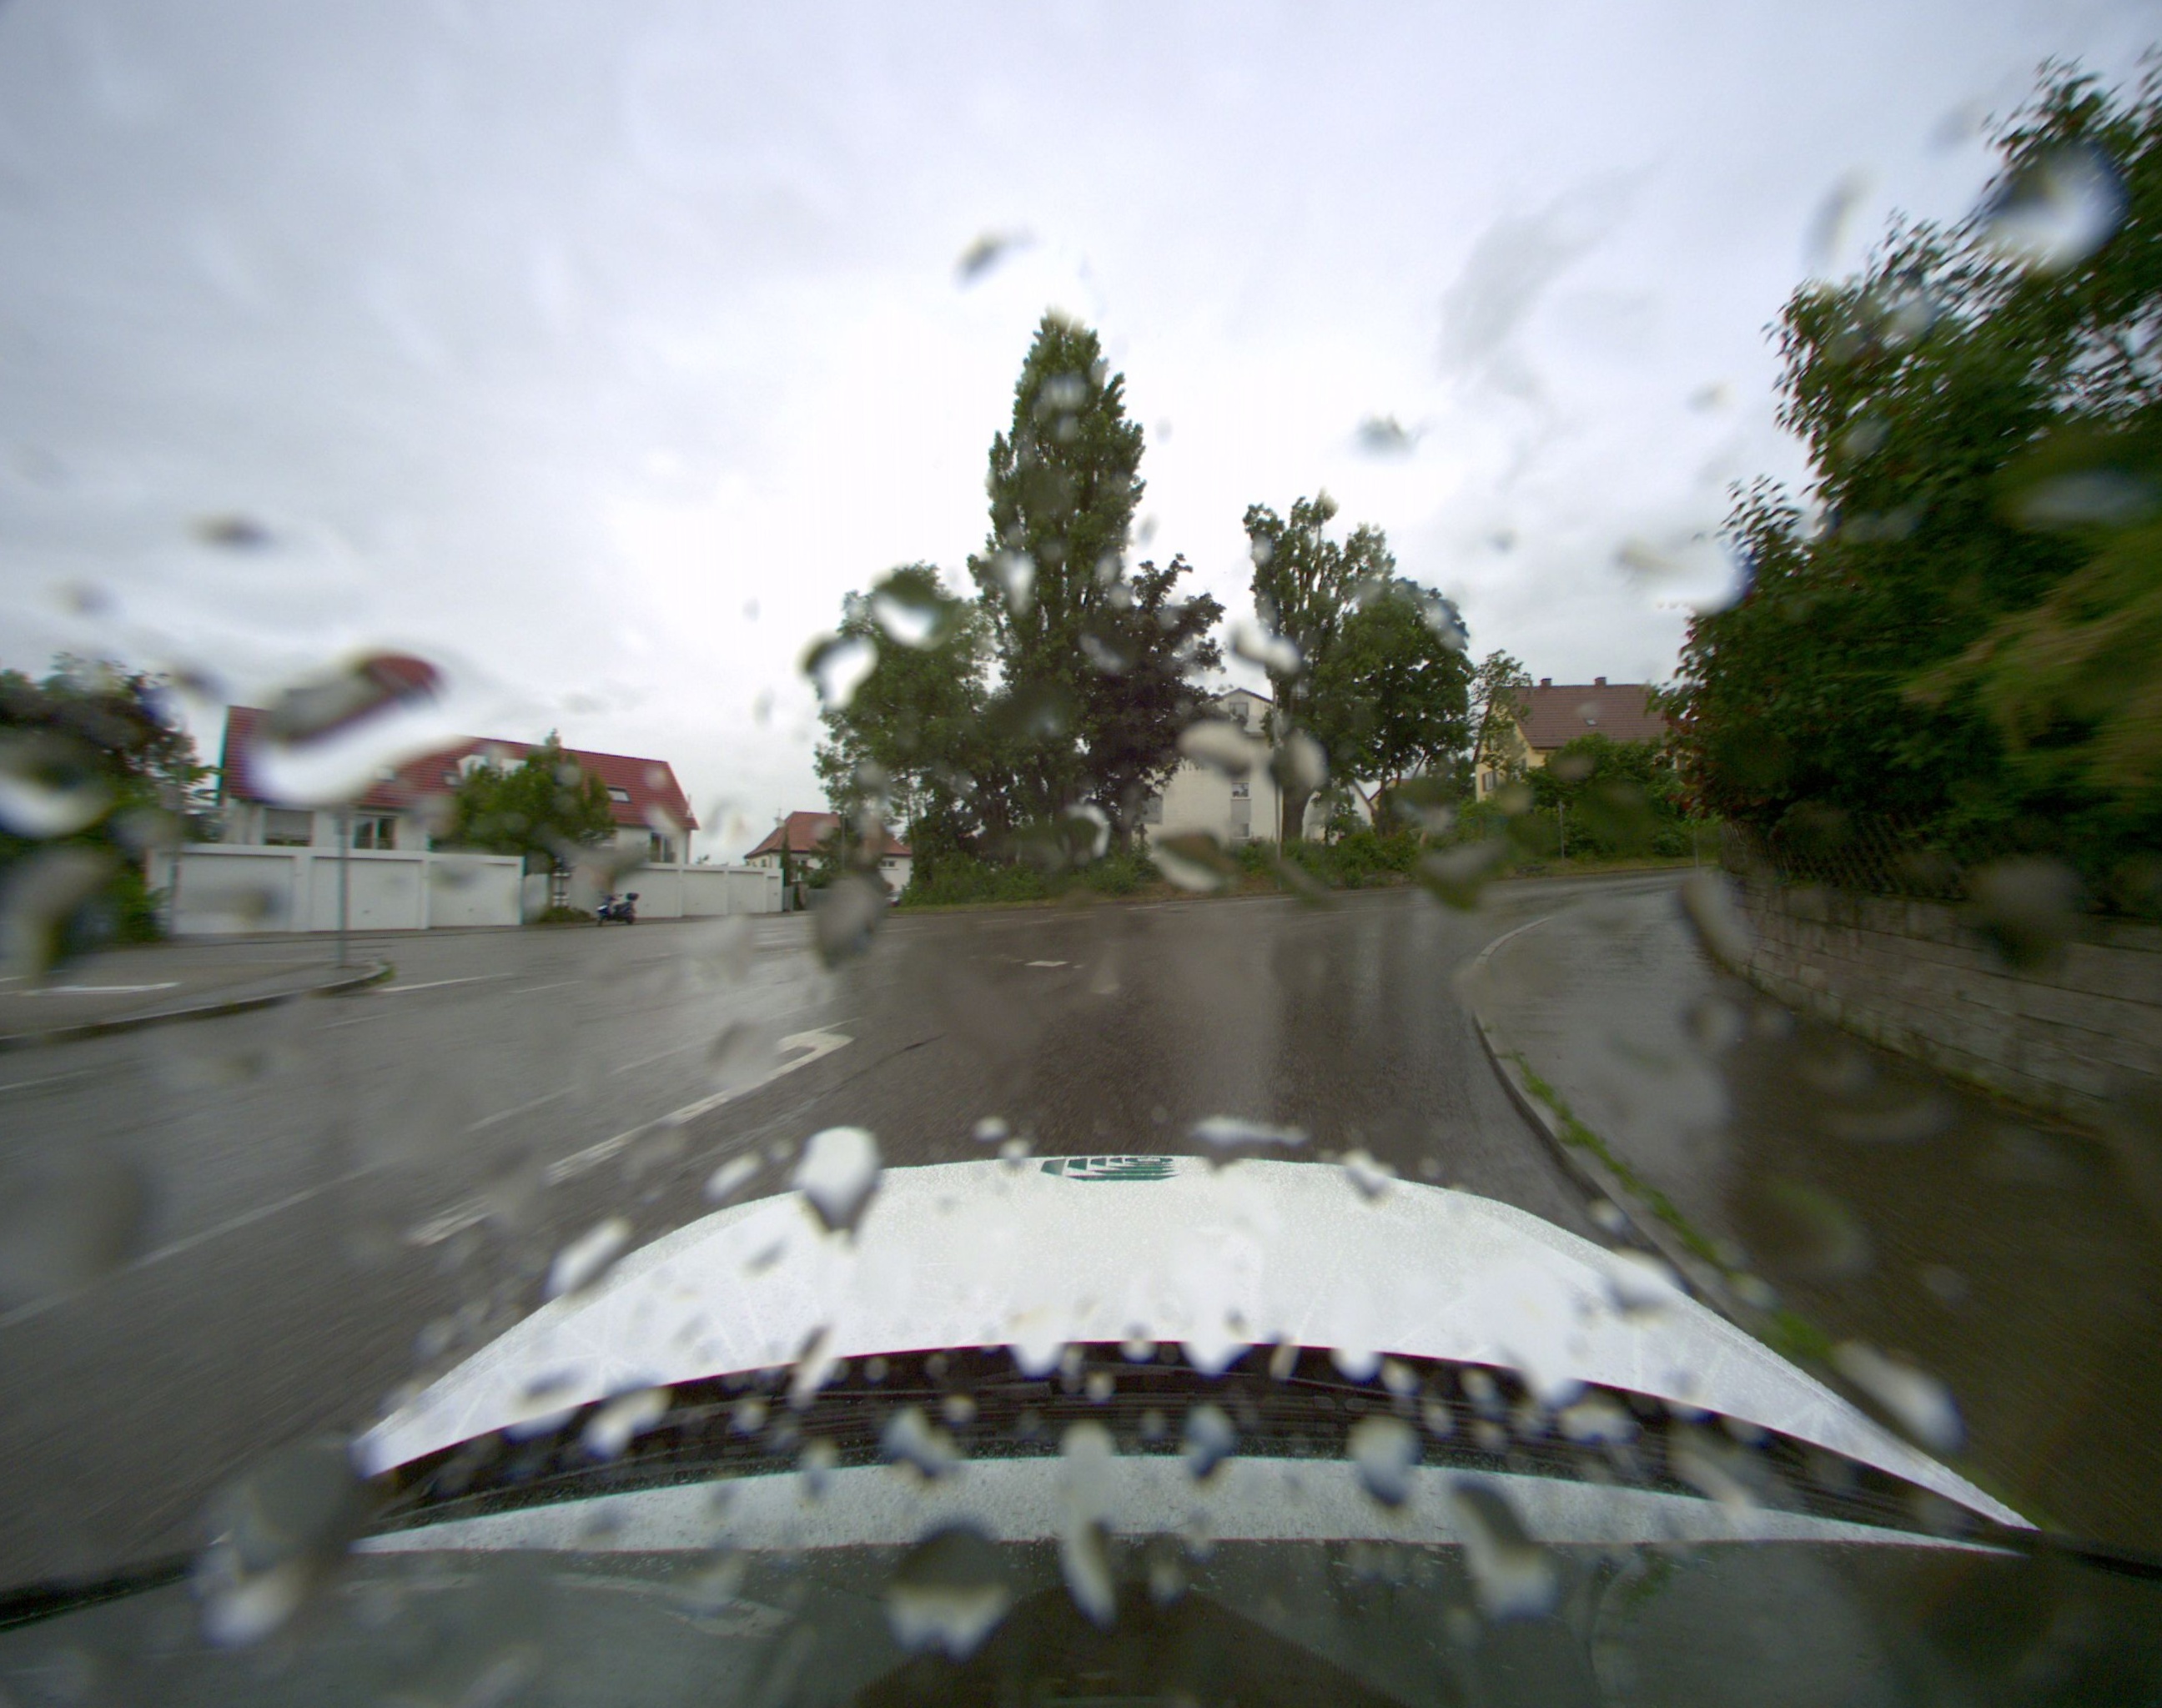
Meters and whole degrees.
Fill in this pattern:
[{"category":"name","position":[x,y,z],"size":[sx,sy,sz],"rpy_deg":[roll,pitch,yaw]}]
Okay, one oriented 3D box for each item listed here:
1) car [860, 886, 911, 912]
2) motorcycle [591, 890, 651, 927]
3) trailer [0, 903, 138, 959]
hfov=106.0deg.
[{"category":"car","position":[-12.836,2.955,53.789],"size":[1.983,1.508,4.006],"rpy_deg":[-2,-1,6]},{"category":"motorcycle","position":[-17.734,2.085,31.465],"size":[0.701,1.322,2.055],"rpy_deg":[-2,-1,17]},{"category":"trailer","position":[-22.348,1.643,17.149],"size":[2.828,1.007,1.580],"rpy_deg":[-2,0,-26]}]
